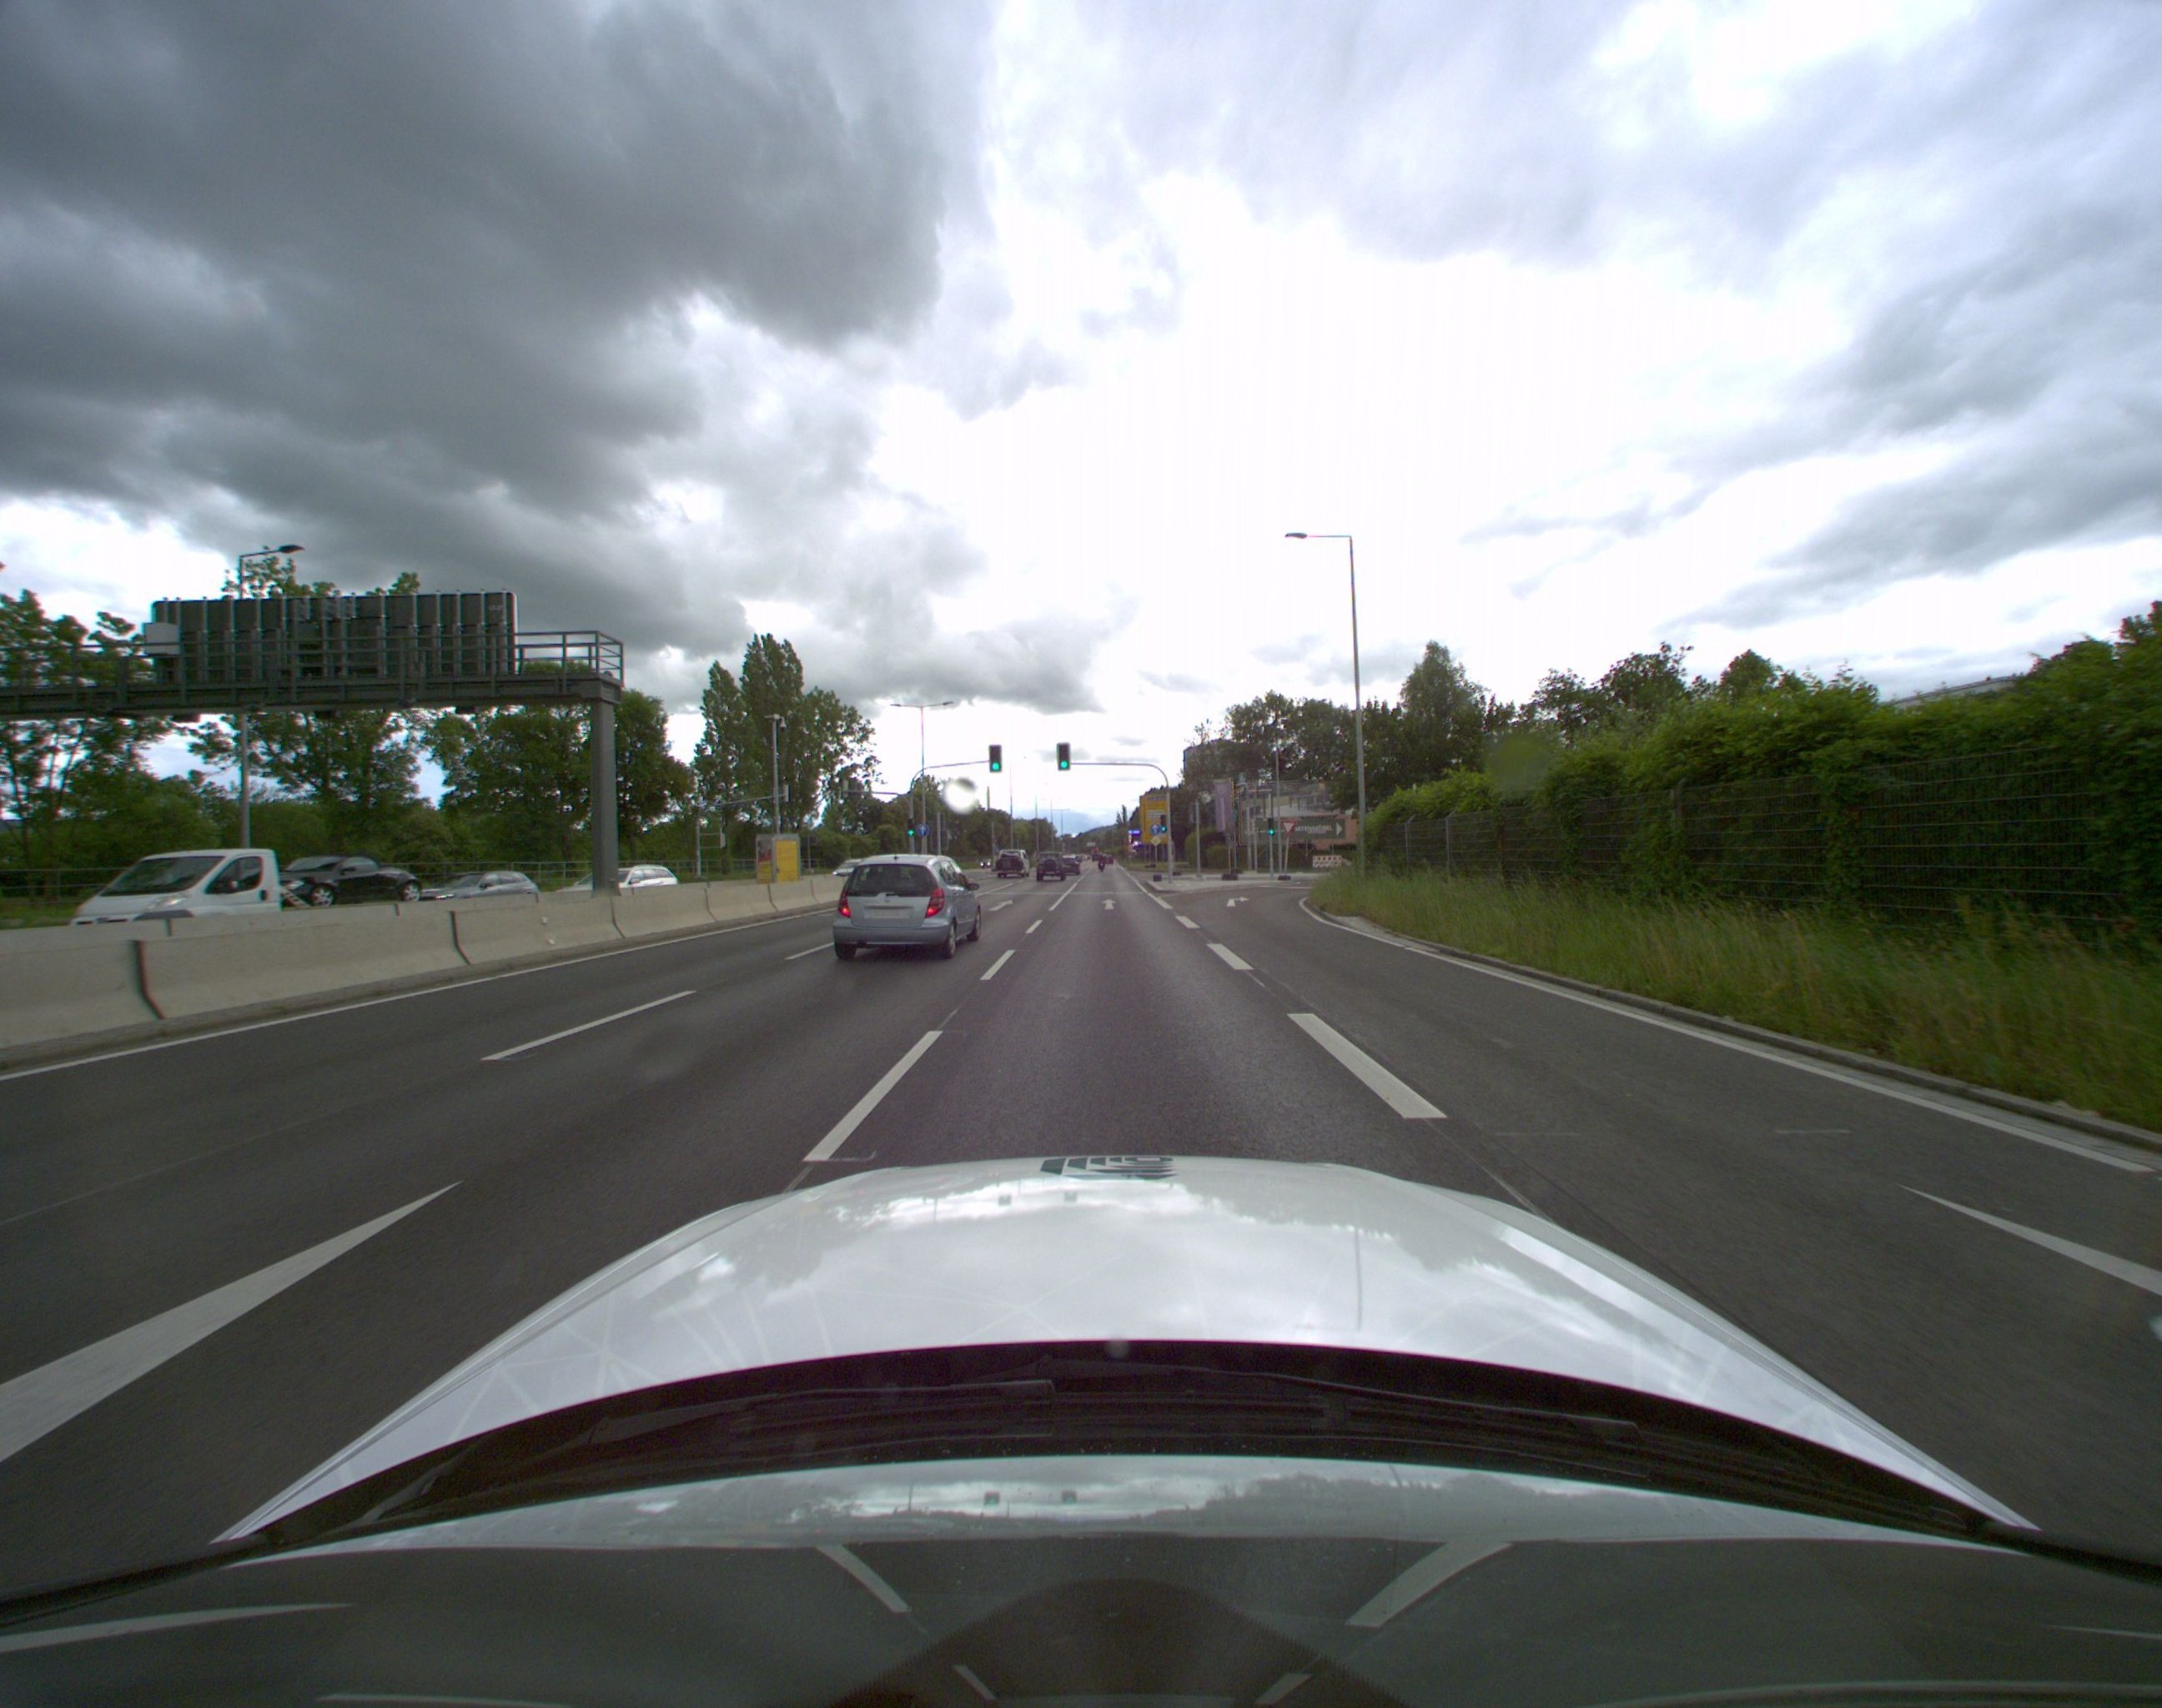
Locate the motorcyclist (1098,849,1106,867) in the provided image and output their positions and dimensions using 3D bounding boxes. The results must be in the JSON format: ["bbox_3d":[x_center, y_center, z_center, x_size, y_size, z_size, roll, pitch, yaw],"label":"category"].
[{"bbox_3d":[1.892,0.375,73.455,0.682,1.610,0.846,0,0,3],"label":"motorcyclist"}]

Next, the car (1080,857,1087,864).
[{"bbox_3d":[0.695,2.067,244.671,1.986,2.013,4.002,0,0,2],"label":"car"}]

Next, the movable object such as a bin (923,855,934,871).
[{"bbox_3d":[-9.917,0.594,53.083,0.538,1.059,0.741,0,0,1],"label":"movable object such as a bin"}]

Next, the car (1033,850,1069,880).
[{"bbox_3d":[-1.750,0.623,49.047,1.900,1.684,4.002,0,0,2],"label":"car"}]

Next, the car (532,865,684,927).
[{"bbox_3d":[-14.750,1.236,25.777,1.986,1.668,4.696,0,0,1],"label":"car"}]

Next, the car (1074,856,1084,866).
[{"bbox_3d":[-0.333,1.435,173.828,1.986,2.013,4.002,0,0,2],"label":"car"}]

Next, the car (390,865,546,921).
[{"bbox_3d":[-21.040,1.276,28.230,1.986,1.684,4.413,0,0,1],"label":"car"}]

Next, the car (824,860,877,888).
[{"bbox_3d":[-14.598,1.240,51.822,1.986,1.684,4.413,0,0,1],"label":"car"}]

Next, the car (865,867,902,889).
[{"bbox_3d":[-16.541,1.982,68.381,1.986,1.656,4.289,0,1,1],"label":"car"}]

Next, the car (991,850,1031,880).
[{"bbox_3d":[-4.780,0.699,56.205,2.207,1.925,5.003,0,0,1],"label":"car"}]

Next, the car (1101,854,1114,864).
[{"bbox_3d":[4.242,0.788,129.495,1.987,1.552,4.000,0,0,0],"label":"car"}]

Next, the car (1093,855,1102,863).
[{"bbox_3d":[3.926,1.183,194.777,1.986,2.013,4.002,0,0,2],"label":"car"}]

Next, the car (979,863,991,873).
[{"bbox_3d":[-15.158,2.227,128.975,1.467,1.463,2.738,0,0,2],"label":"car"}]

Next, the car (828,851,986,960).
[{"bbox_3d":[-2.711,0.730,13.599,1.704,1.530,4.001,0,0,1],"label":"car"}]

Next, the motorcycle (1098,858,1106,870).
[{"bbox_3d":[1.890,0.907,73.436,0.703,1.040,2.029,0,0,3],"label":"motorcycle"}]

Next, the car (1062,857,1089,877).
[{"bbox_3d":[-0.380,0.966,62.655,1.832,1.464,4.003,0,0,3],"label":"car"}]

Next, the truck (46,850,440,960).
[{"bbox_3d":[-18.029,0.929,18.253,2.196,2.013,6.303,0,0,1],"label":"truck"}]
